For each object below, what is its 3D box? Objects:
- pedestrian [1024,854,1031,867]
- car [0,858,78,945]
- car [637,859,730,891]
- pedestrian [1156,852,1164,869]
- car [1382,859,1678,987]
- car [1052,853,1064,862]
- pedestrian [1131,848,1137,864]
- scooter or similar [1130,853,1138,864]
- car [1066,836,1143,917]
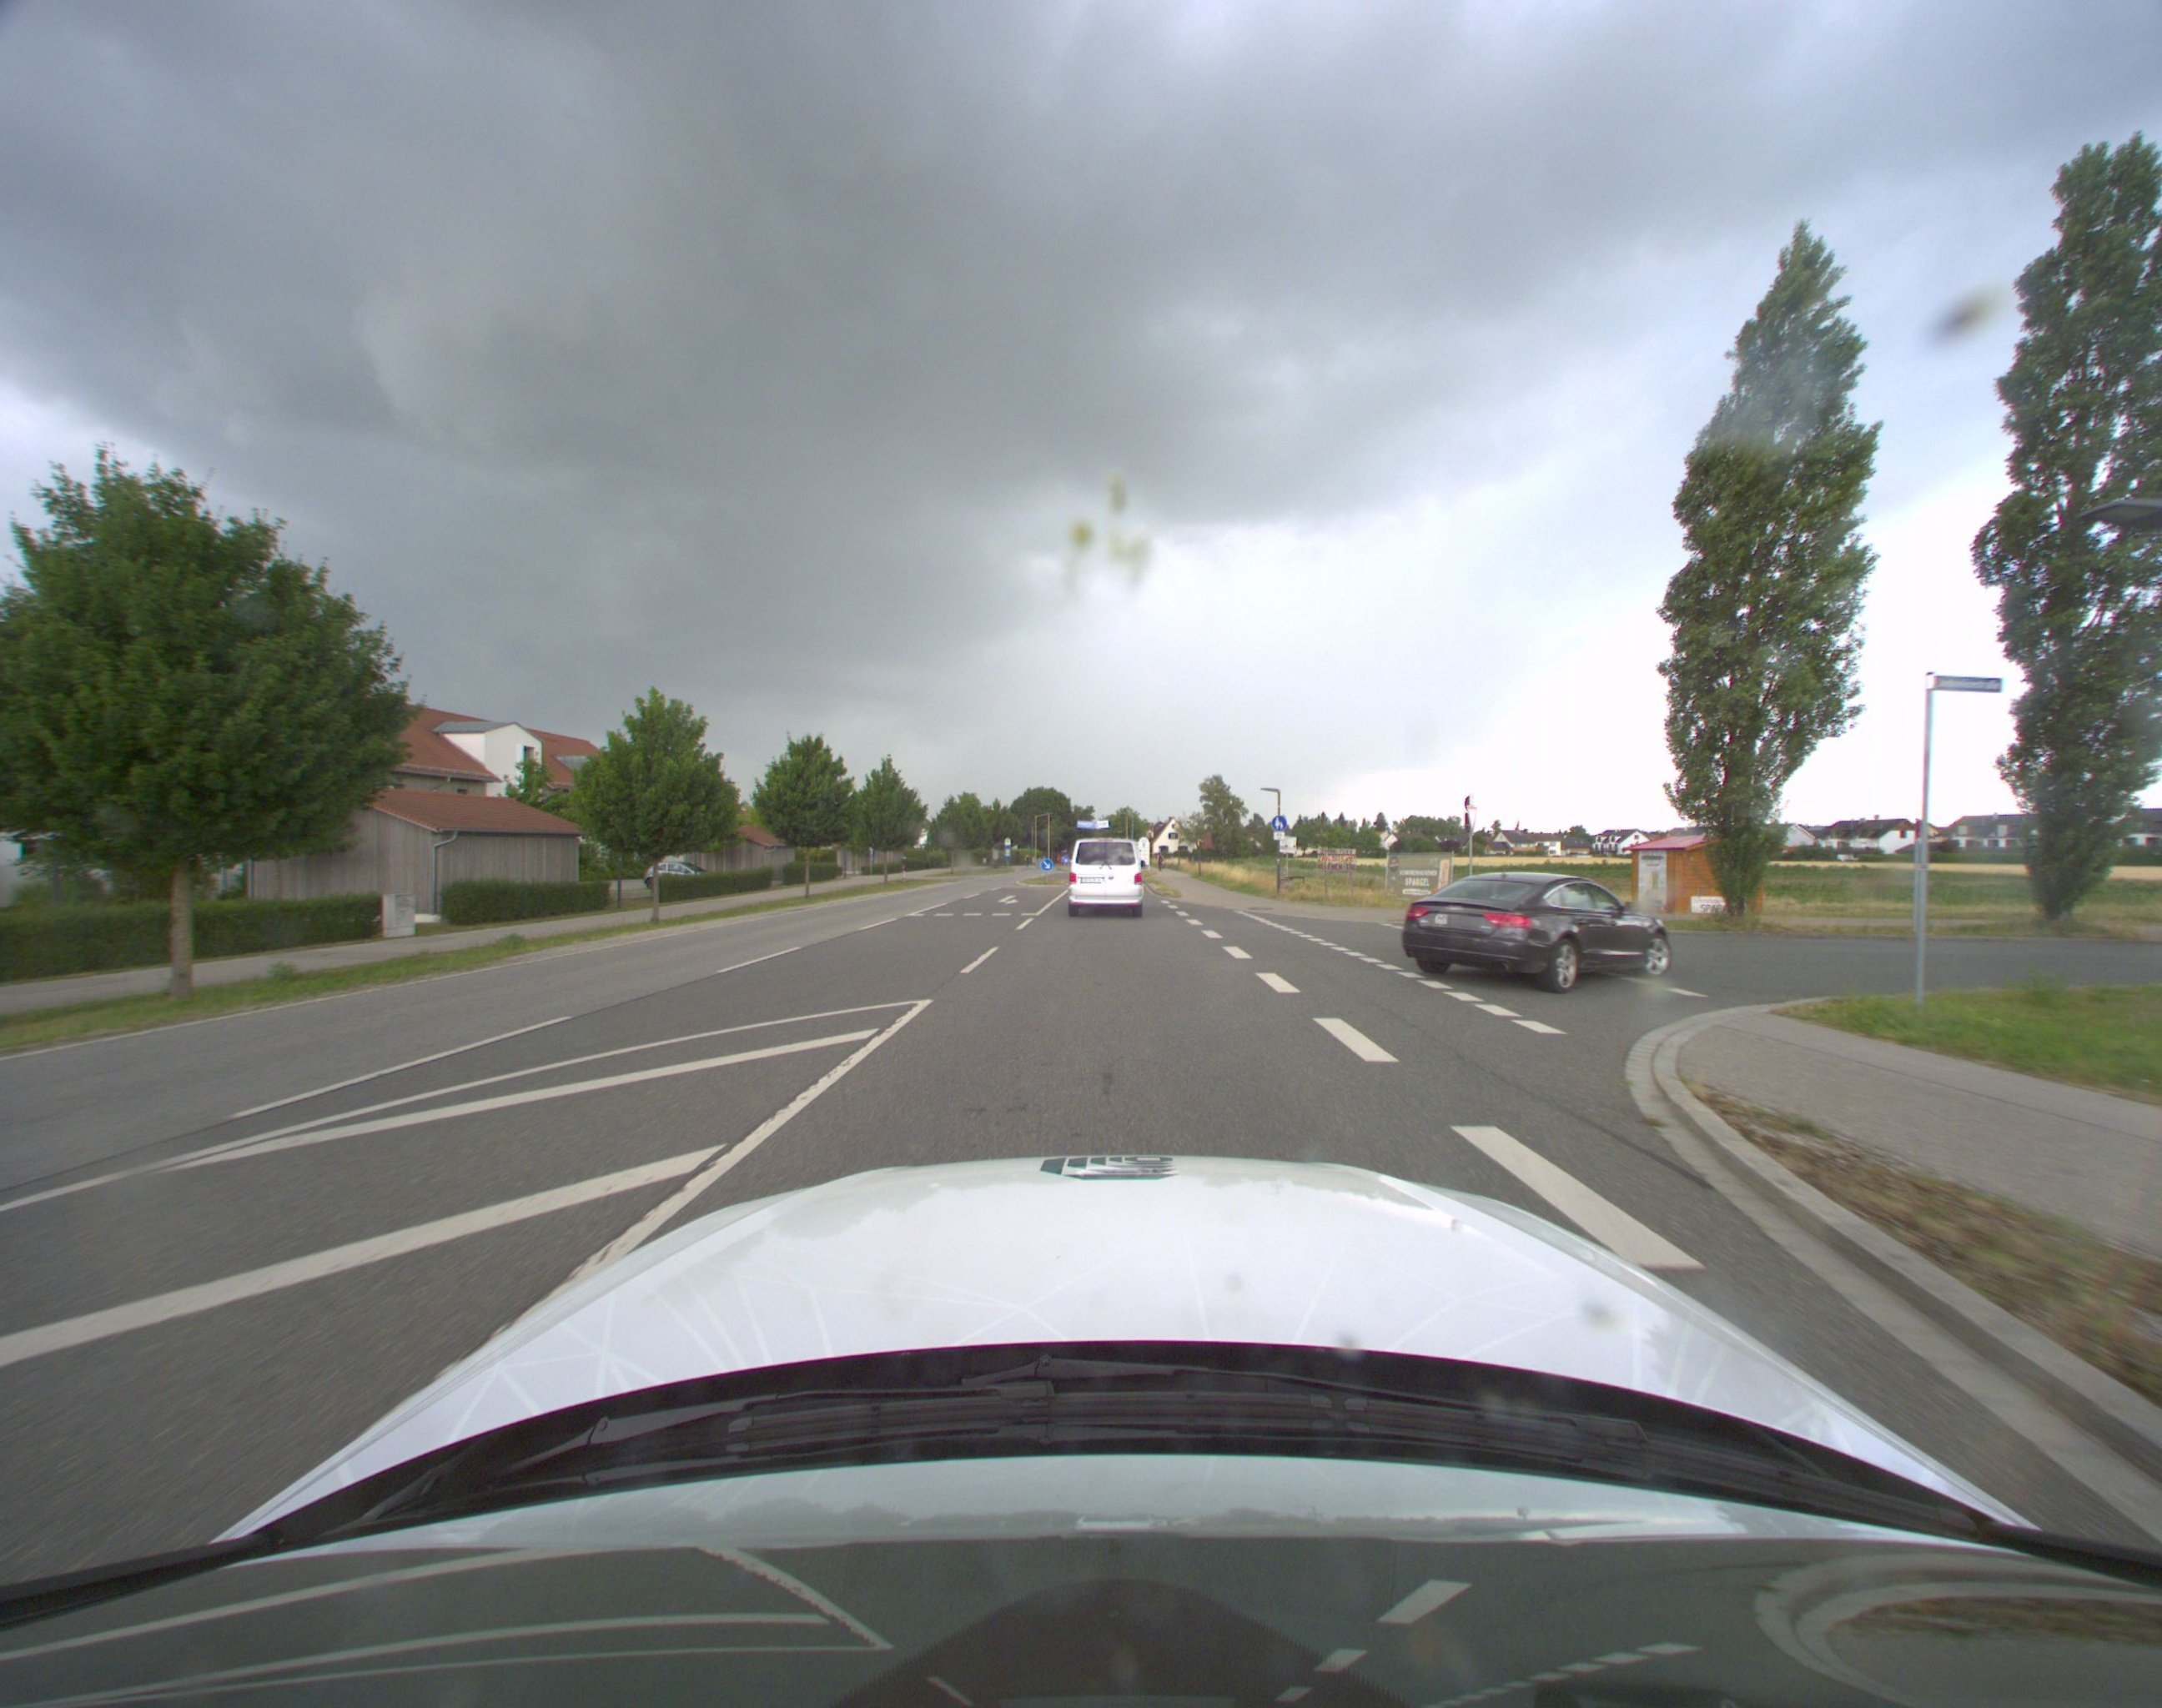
[{"bbox_3d":[-6.114,0.738,93.103,0.621,1.525,0.680,-2,0,1],"label":"pedestrian"},{"bbox_3d":[-22.033,0.943,15.301,3.970,1.618,2.002,-2,0,3],"label":"car"},{"bbox_3d":[-21.559,1.125,44.268,3.970,1.556,2.002,1,0,3],"label":"car"},{"bbox_3d":[7.376,0.622,75.876,0.621,1.525,0.680,-2,0,1],"label":"pedestrian"},{"bbox_3d":[6.119,0.876,10.906,4.406,1.389,1.811,4,-3,-37],"label":"car"},{"bbox_3d":[-3.542,0.559,128.309,1.647,1.429,3.603,-2,0,2],"label":"car"},{"bbox_3d":[5.583,0.201,85.846,0.483,1.732,0.642,-2,0,1],"label":"pedestrian"},{"bbox_3d":[5.629,0.498,86.254,0.845,1.103,1.095,-2,0,2],"label":"scooter or similar"},{"bbox_3d":[0.574,0.531,21.435,1.819,1.913,4.000,1,0,0],"label":"car"}]
